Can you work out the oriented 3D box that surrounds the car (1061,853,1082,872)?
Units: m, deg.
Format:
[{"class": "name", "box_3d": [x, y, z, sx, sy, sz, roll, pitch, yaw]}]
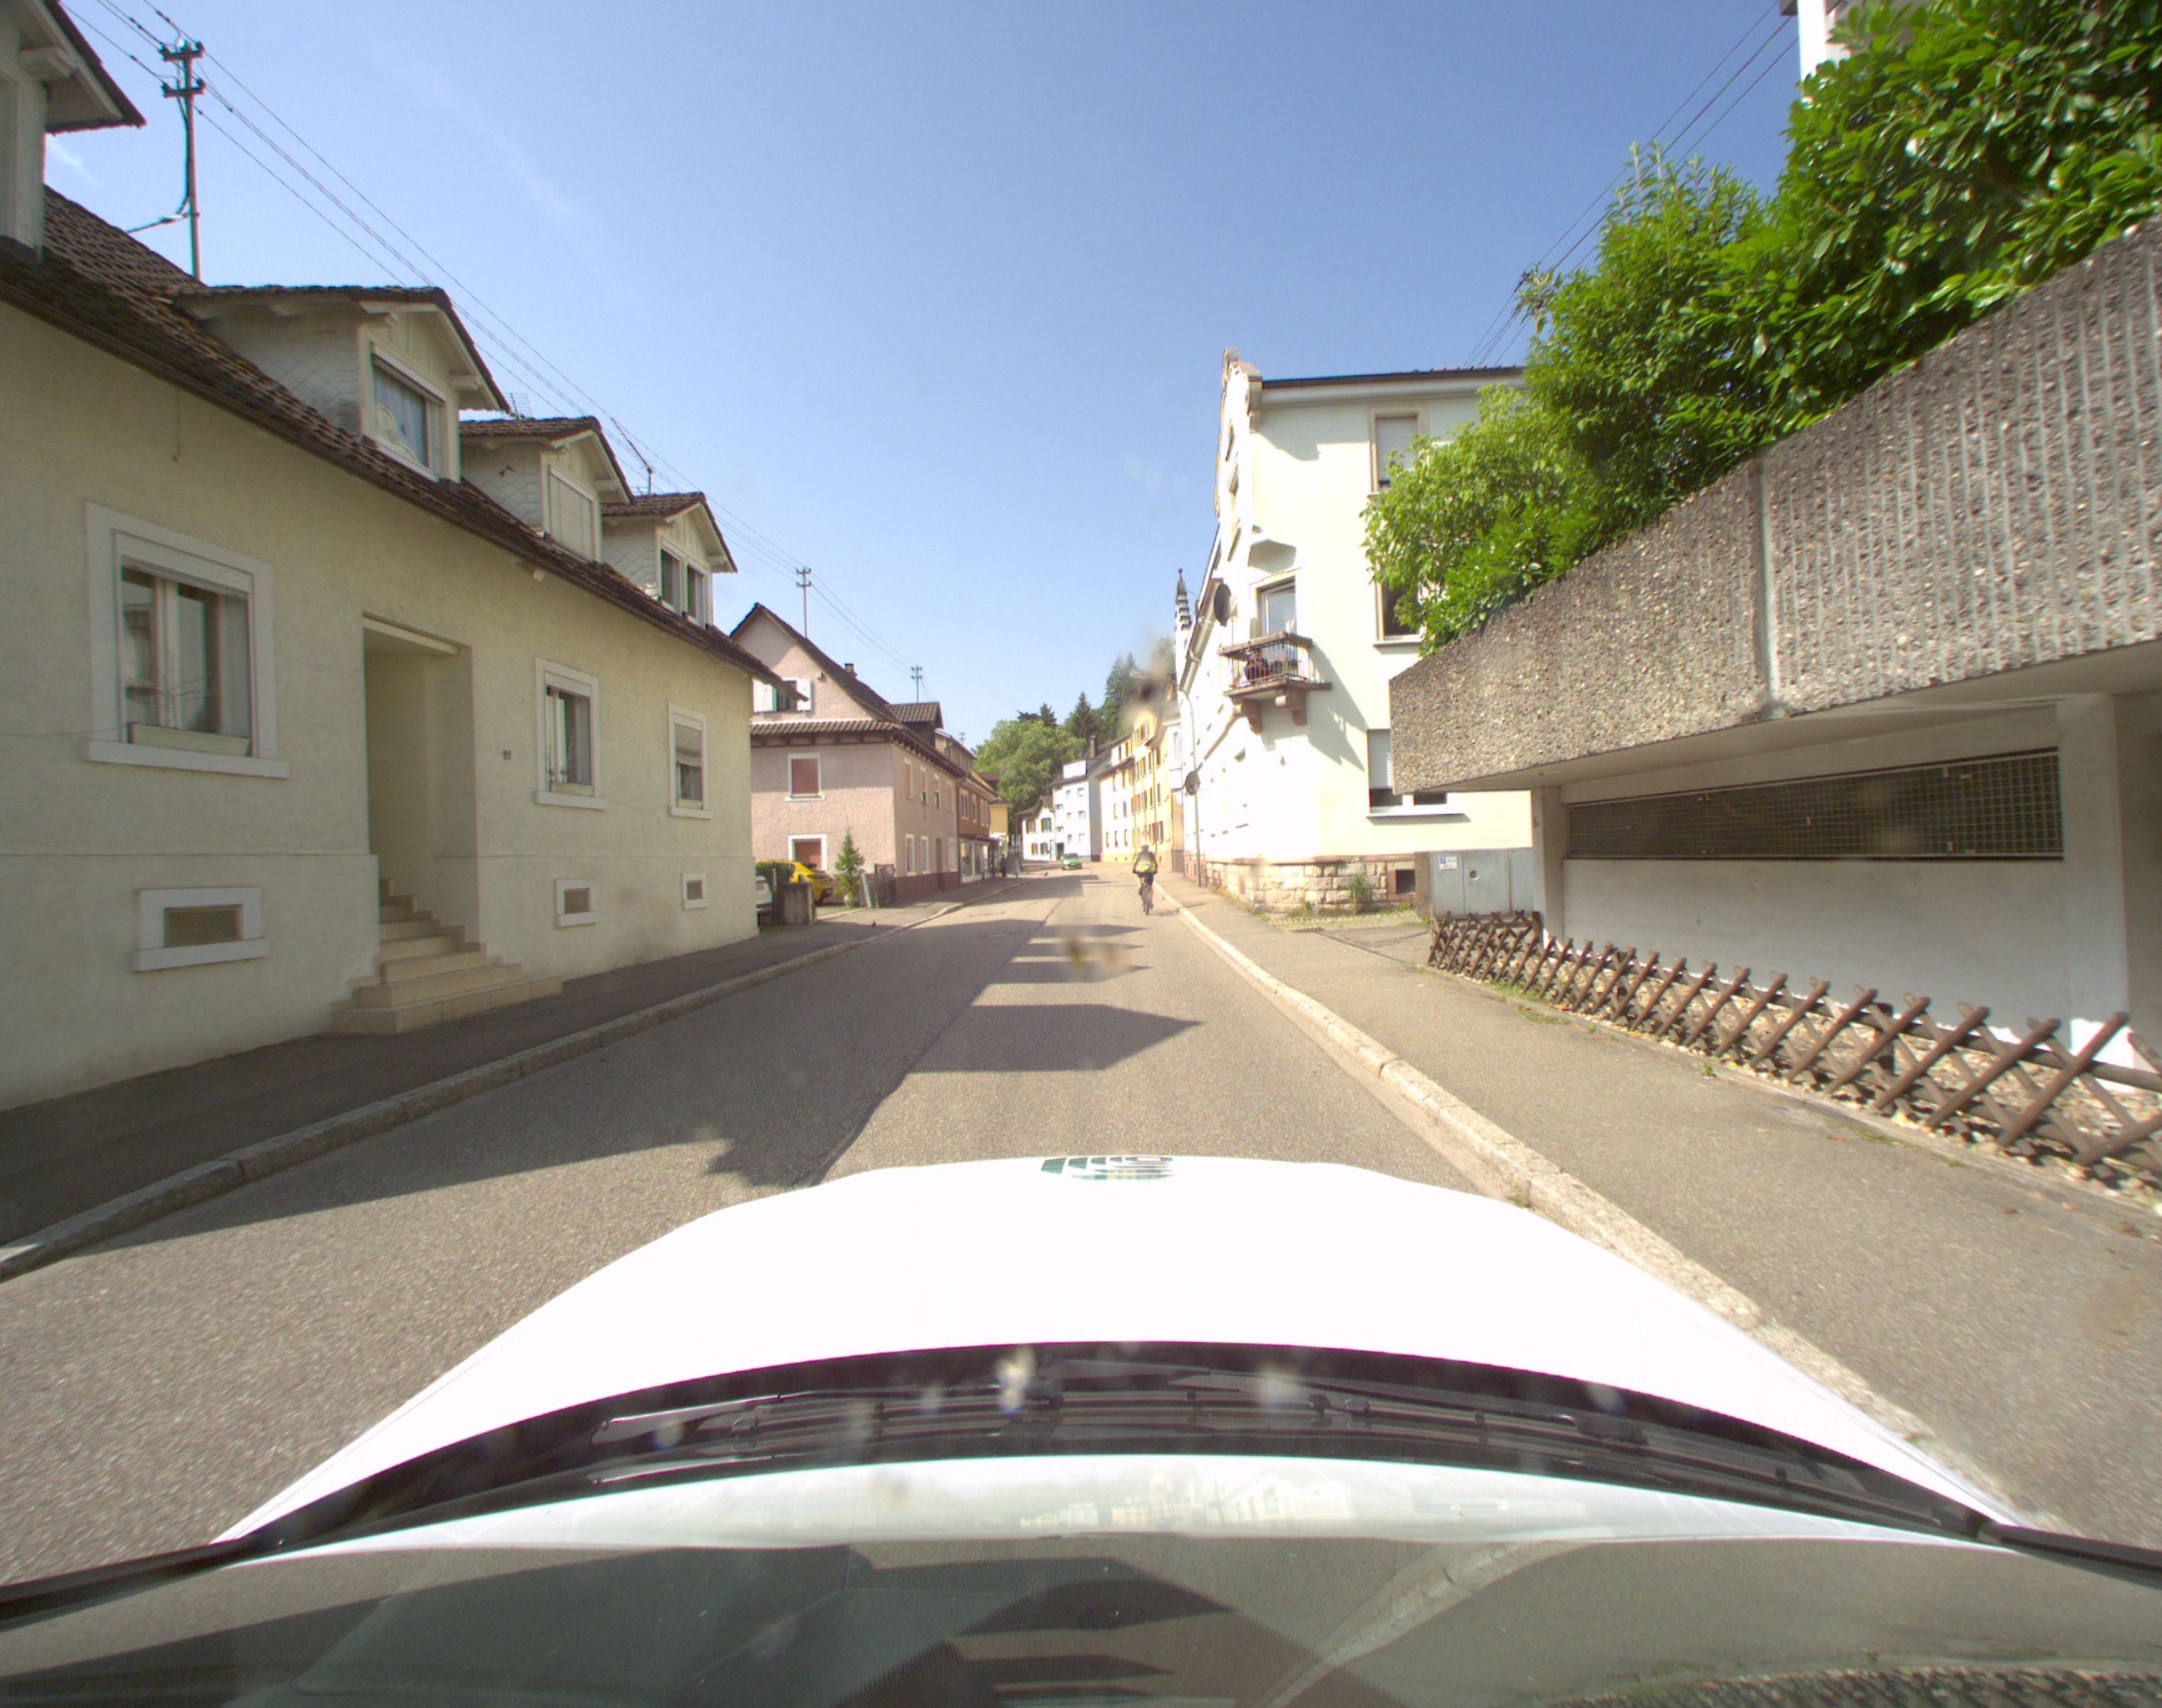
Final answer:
[{"class": "car", "box_3d": [-0.830, 0.736, 70.387, 1.593, 1.464, 3.656, -5, 0, -3]}]

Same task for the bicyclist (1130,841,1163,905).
[{"class": "bicyclist", "box_3d": [1.627, 0.460, 20.320, 0.683, 1.531, 0.715, -3, 0, 0]}]

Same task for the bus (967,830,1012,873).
[{"class": "bus", "box_3d": [-7.431, -0.197, 67.031, 2.812, 3.228, 9.031, 0, 0, -1]}]

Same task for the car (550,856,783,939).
[{"class": "car", "box_3d": [-8.786, 0.888, 17.546, 3.976, 1.594, 1.906, -1, 0, -2]}]

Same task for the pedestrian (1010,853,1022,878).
[{"class": "pedestrian", "box_3d": [-4.136, 0.735, 52.128, 0.637, 1.626, 0.777, 1, 0, 2]}]

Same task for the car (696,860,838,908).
[{"class": "car", "box_3d": [-9.729, 0.911, 25.436, 3.740, 1.392, 1.645, -1, 1, -2]}]

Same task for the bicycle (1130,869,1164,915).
[{"class": "bicycle", "box_3d": [1.633, 0.928, 20.341, 0.696, 1.035, 1.471, -1, 0, 0]}]

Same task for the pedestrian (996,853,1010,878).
[{"class": "pedestrian", "box_3d": [-4.967, 0.701, 52.080, 0.732, 1.564, 0.825, 1, 0, 2]}]
